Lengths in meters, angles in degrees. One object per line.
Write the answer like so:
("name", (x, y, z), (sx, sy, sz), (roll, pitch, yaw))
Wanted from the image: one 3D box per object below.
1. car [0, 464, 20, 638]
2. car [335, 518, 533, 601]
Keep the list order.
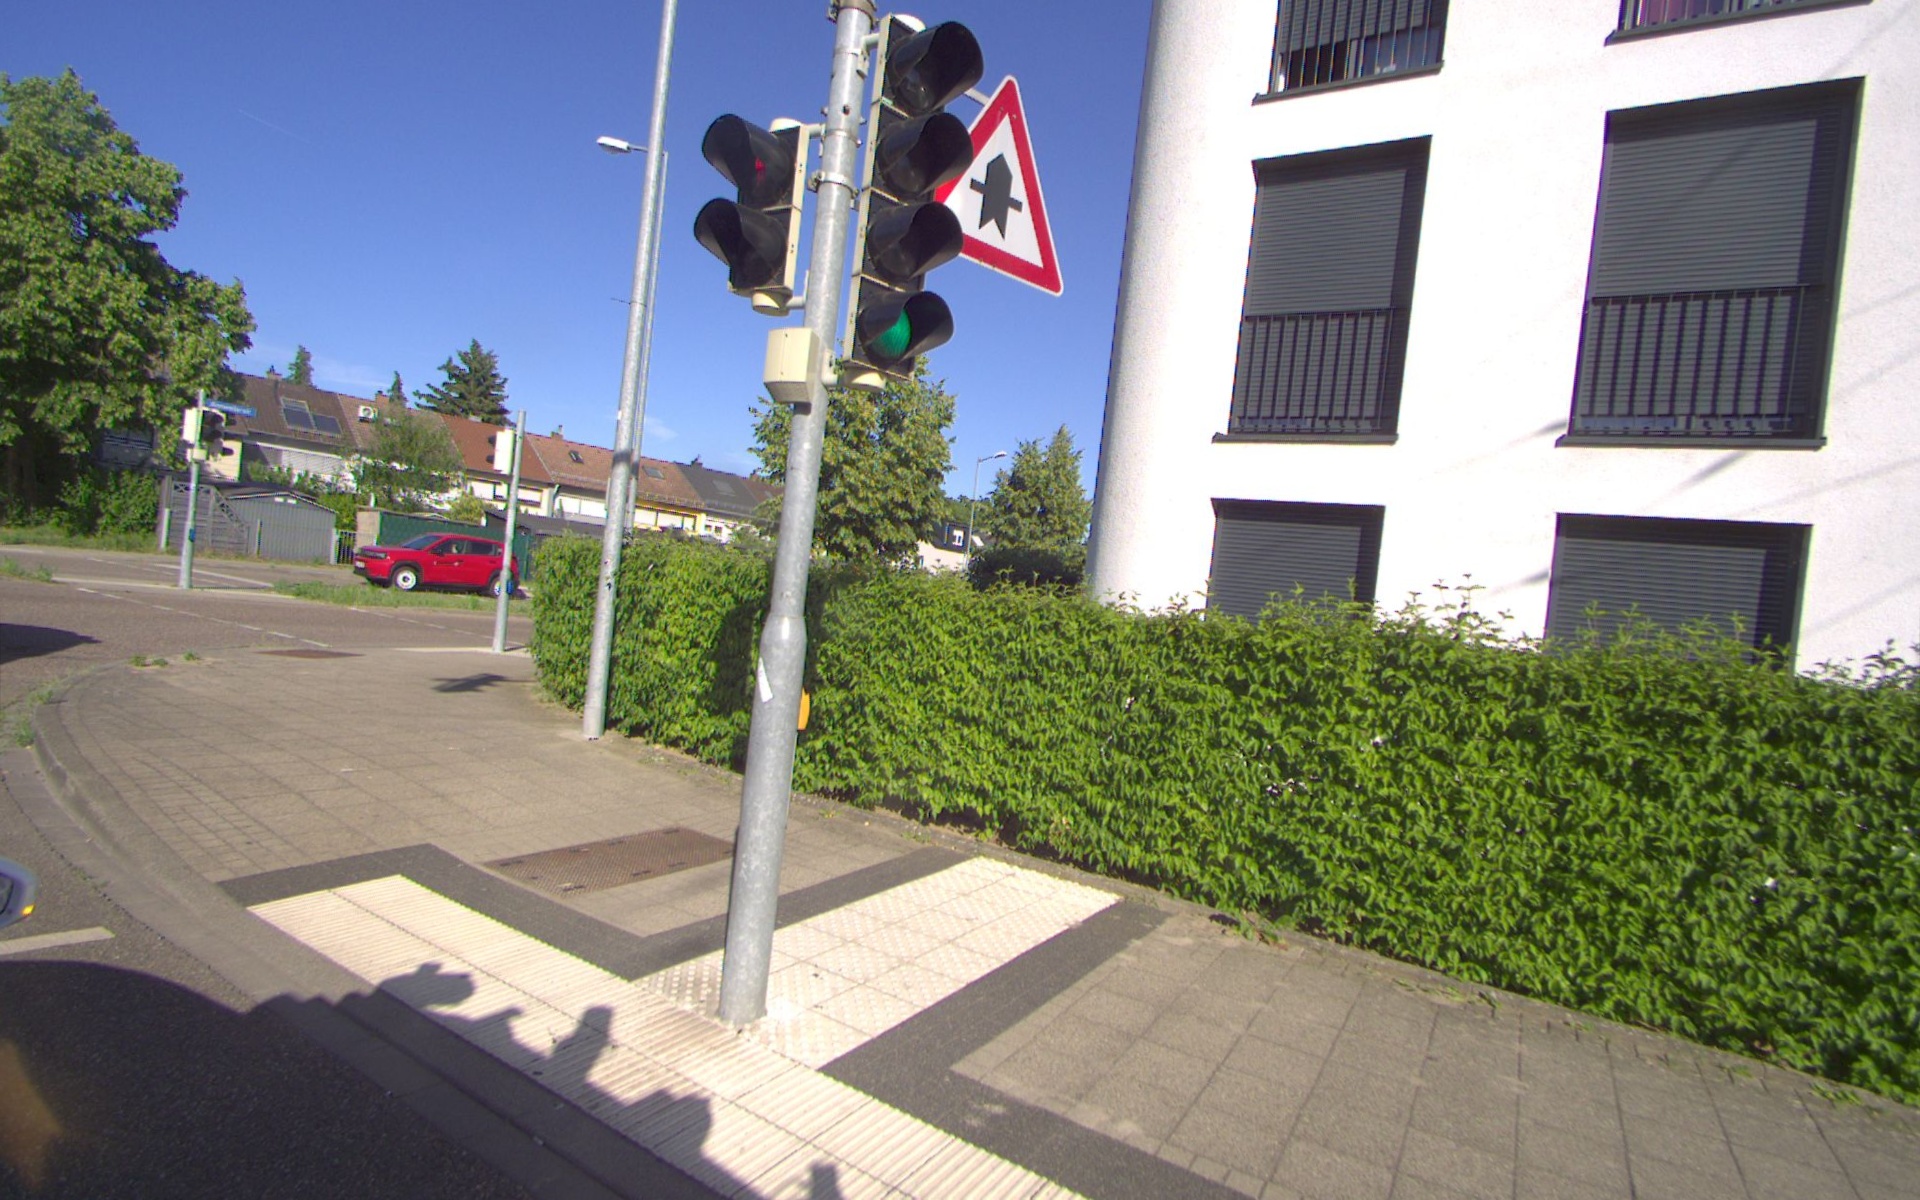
("car", (-9.009, -0.461, 7.426), (1.915, 1.674, 4.479), (8, -1, -30))
("car", (-13.889, -1.040, 26.749), (1.917, 1.608, 4.165), (7, 0, 38))
